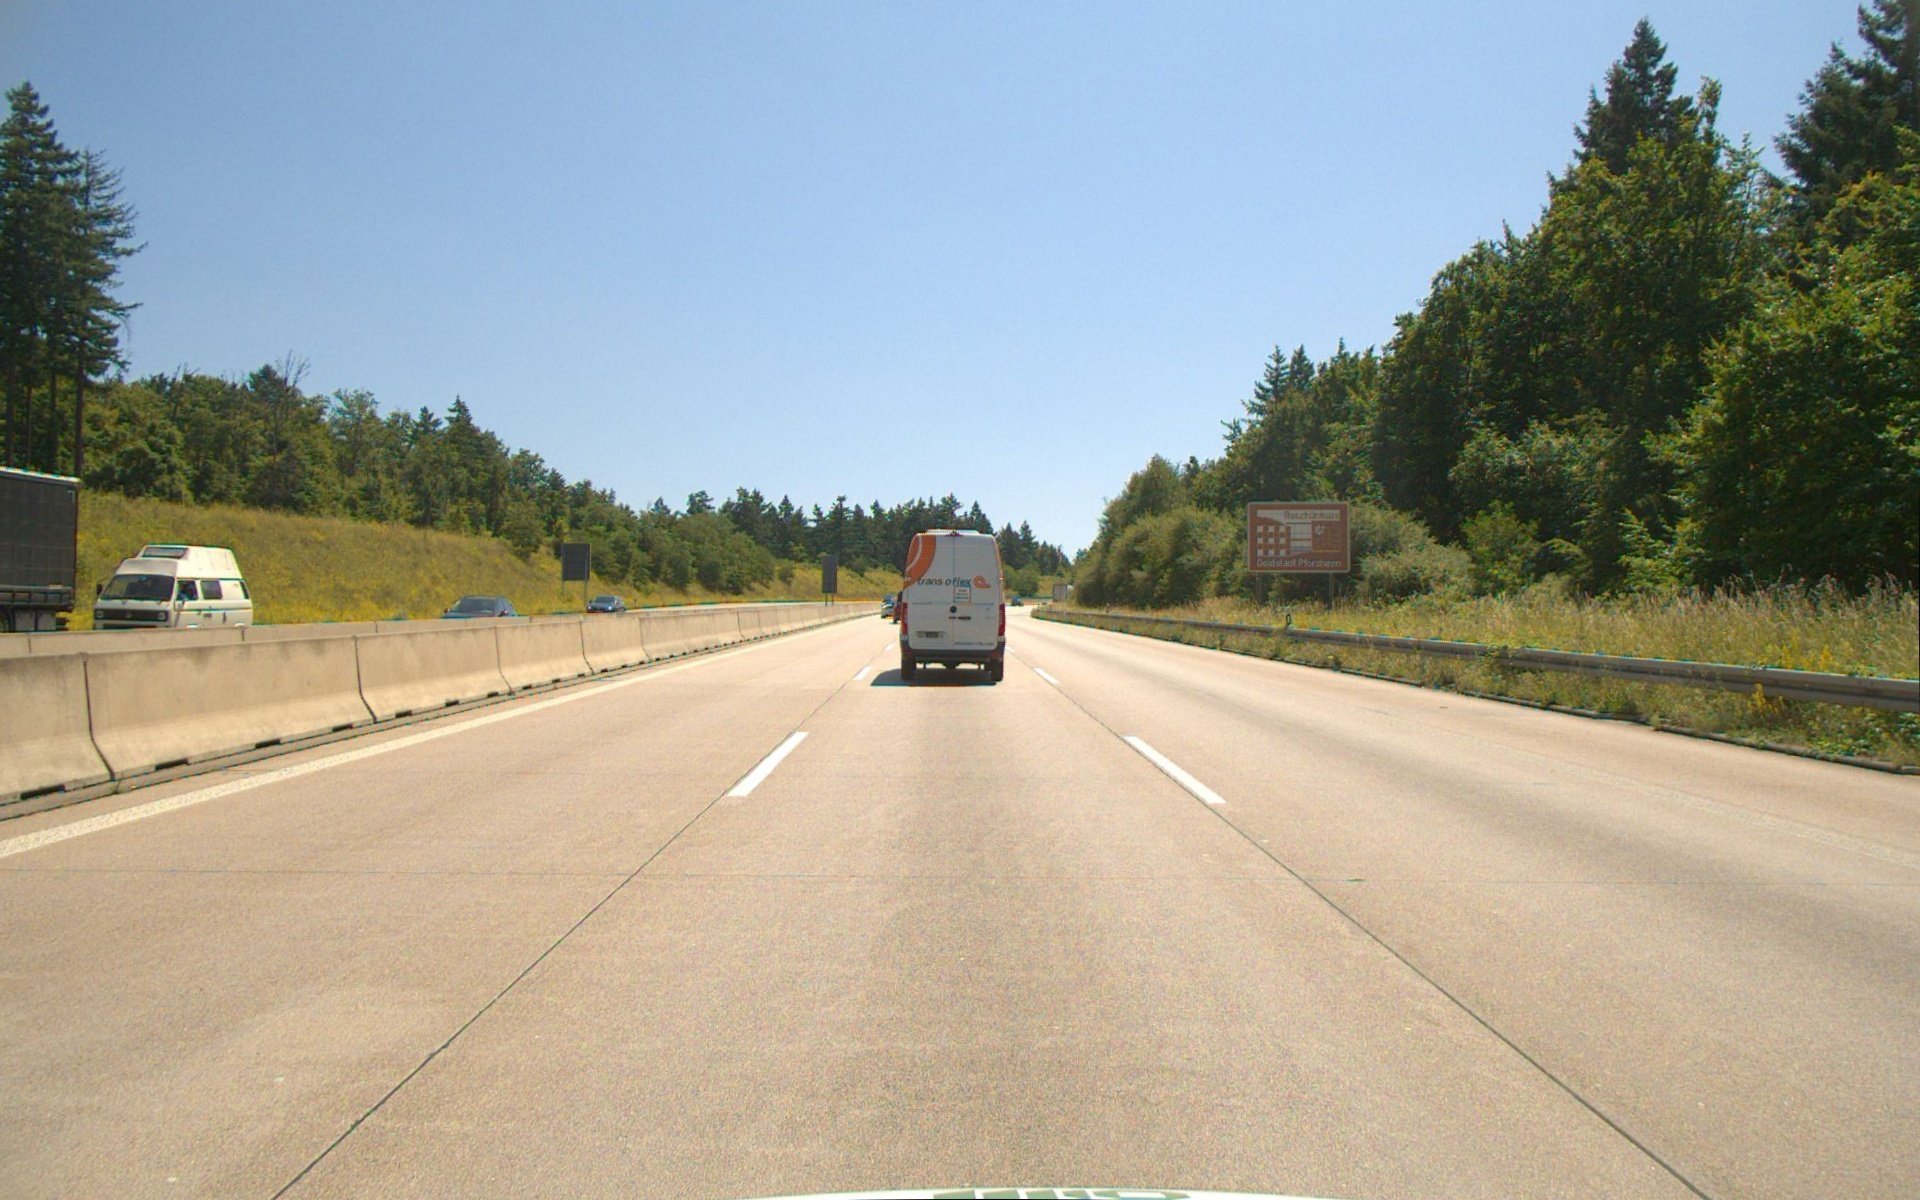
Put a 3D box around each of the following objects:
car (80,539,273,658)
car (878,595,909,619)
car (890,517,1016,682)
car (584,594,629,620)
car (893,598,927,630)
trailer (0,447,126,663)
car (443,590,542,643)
[{"bbox_3d":[-17.825,-0.036,37.967,1.953,2.529,5.178,1,0,0],"label":"car"},{"bbox_3d":[-5.045,0.542,125.653,1.952,1.713,4.001,0,-1,3],"label":"car"},{"bbox_3d":[-0.173,-0.017,31.907,2.181,2.894,5.453,1,0,-1],"label":"car"},{"bbox_3d":[-22.142,0.437,103.744,1.953,1.611,4.041,0,0,0],"label":"car"},{"bbox_3d":[-2.984,0.847,99.567,1.953,1.825,3.999,0,-1,-1],"label":"car"},{"bbox_3d":[-21.961,-0.978,33.830,3.190,4.583,13.117,0,-1,0],"label":"trailer"},{"bbox_3d":[-14.622,0.506,51.945,1.953,1.611,4.042,0,0,0],"label":"car"}]
